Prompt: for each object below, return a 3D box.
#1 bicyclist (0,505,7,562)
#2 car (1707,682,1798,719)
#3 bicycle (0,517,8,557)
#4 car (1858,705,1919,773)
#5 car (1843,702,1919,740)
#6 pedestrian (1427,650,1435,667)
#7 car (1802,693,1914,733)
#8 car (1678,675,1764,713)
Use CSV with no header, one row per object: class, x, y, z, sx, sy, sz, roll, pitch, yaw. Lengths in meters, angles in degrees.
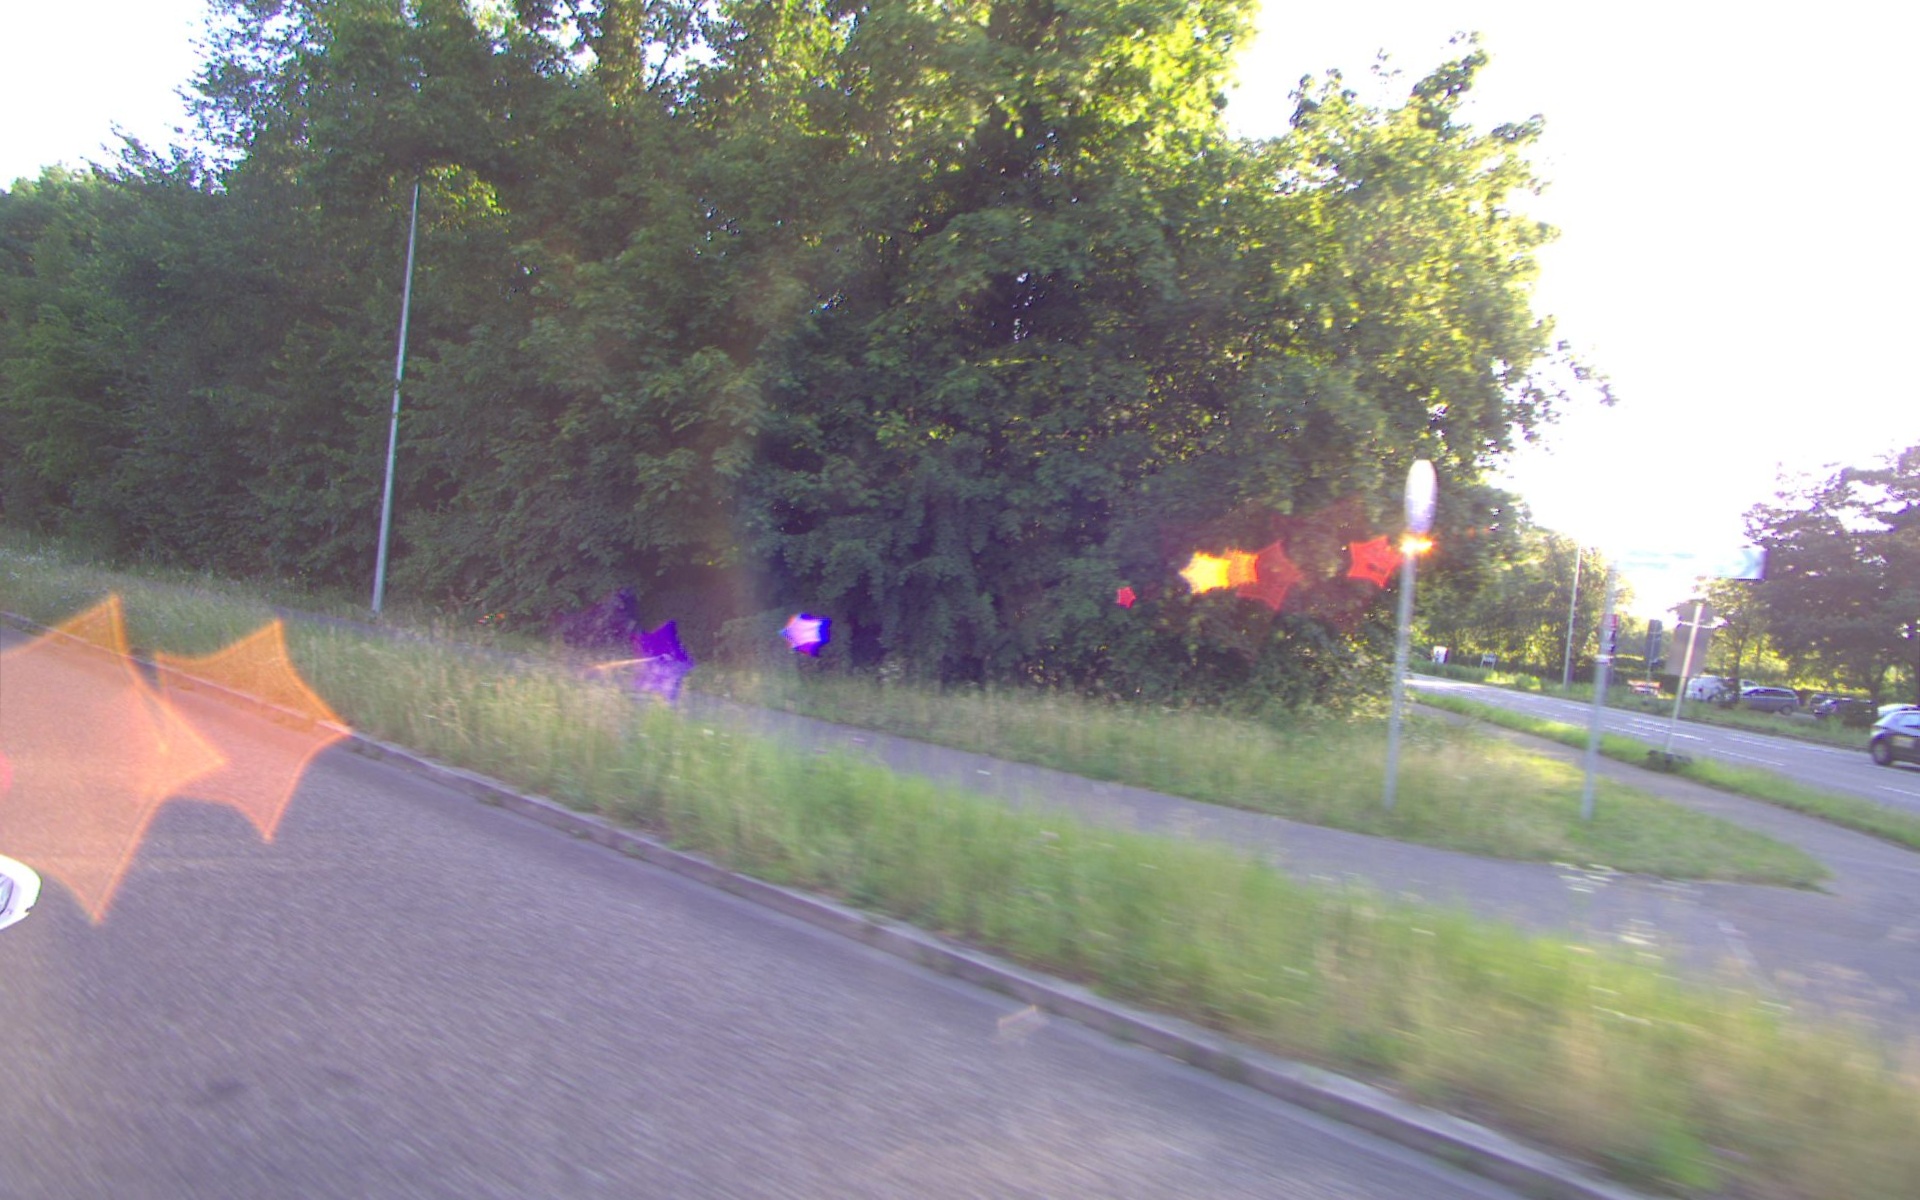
bicyclist,-25.560,-1.786,26.385,0.767,1.474,0.603,6,2,35
car,49.567,6.269,62.984,3.923,1.658,1.826,6,0,12
bicycle,-25.661,-1.706,26.430,1.665,1.008,0.611,6,1,35
car,23.270,3.374,23.254,1.836,1.423,4.077,4,-1,11
car,48.100,6.250,51.344,4.091,1.497,1.784,6,0,9
pedestrian,50.134,6.254,107.114,0.557,1.797,0.677,5,0,12
car,48.352,6.075,54.258,4.091,1.497,1.784,6,0,9
car,49.938,6.128,66.065,3.923,1.888,1.826,6,1,12
